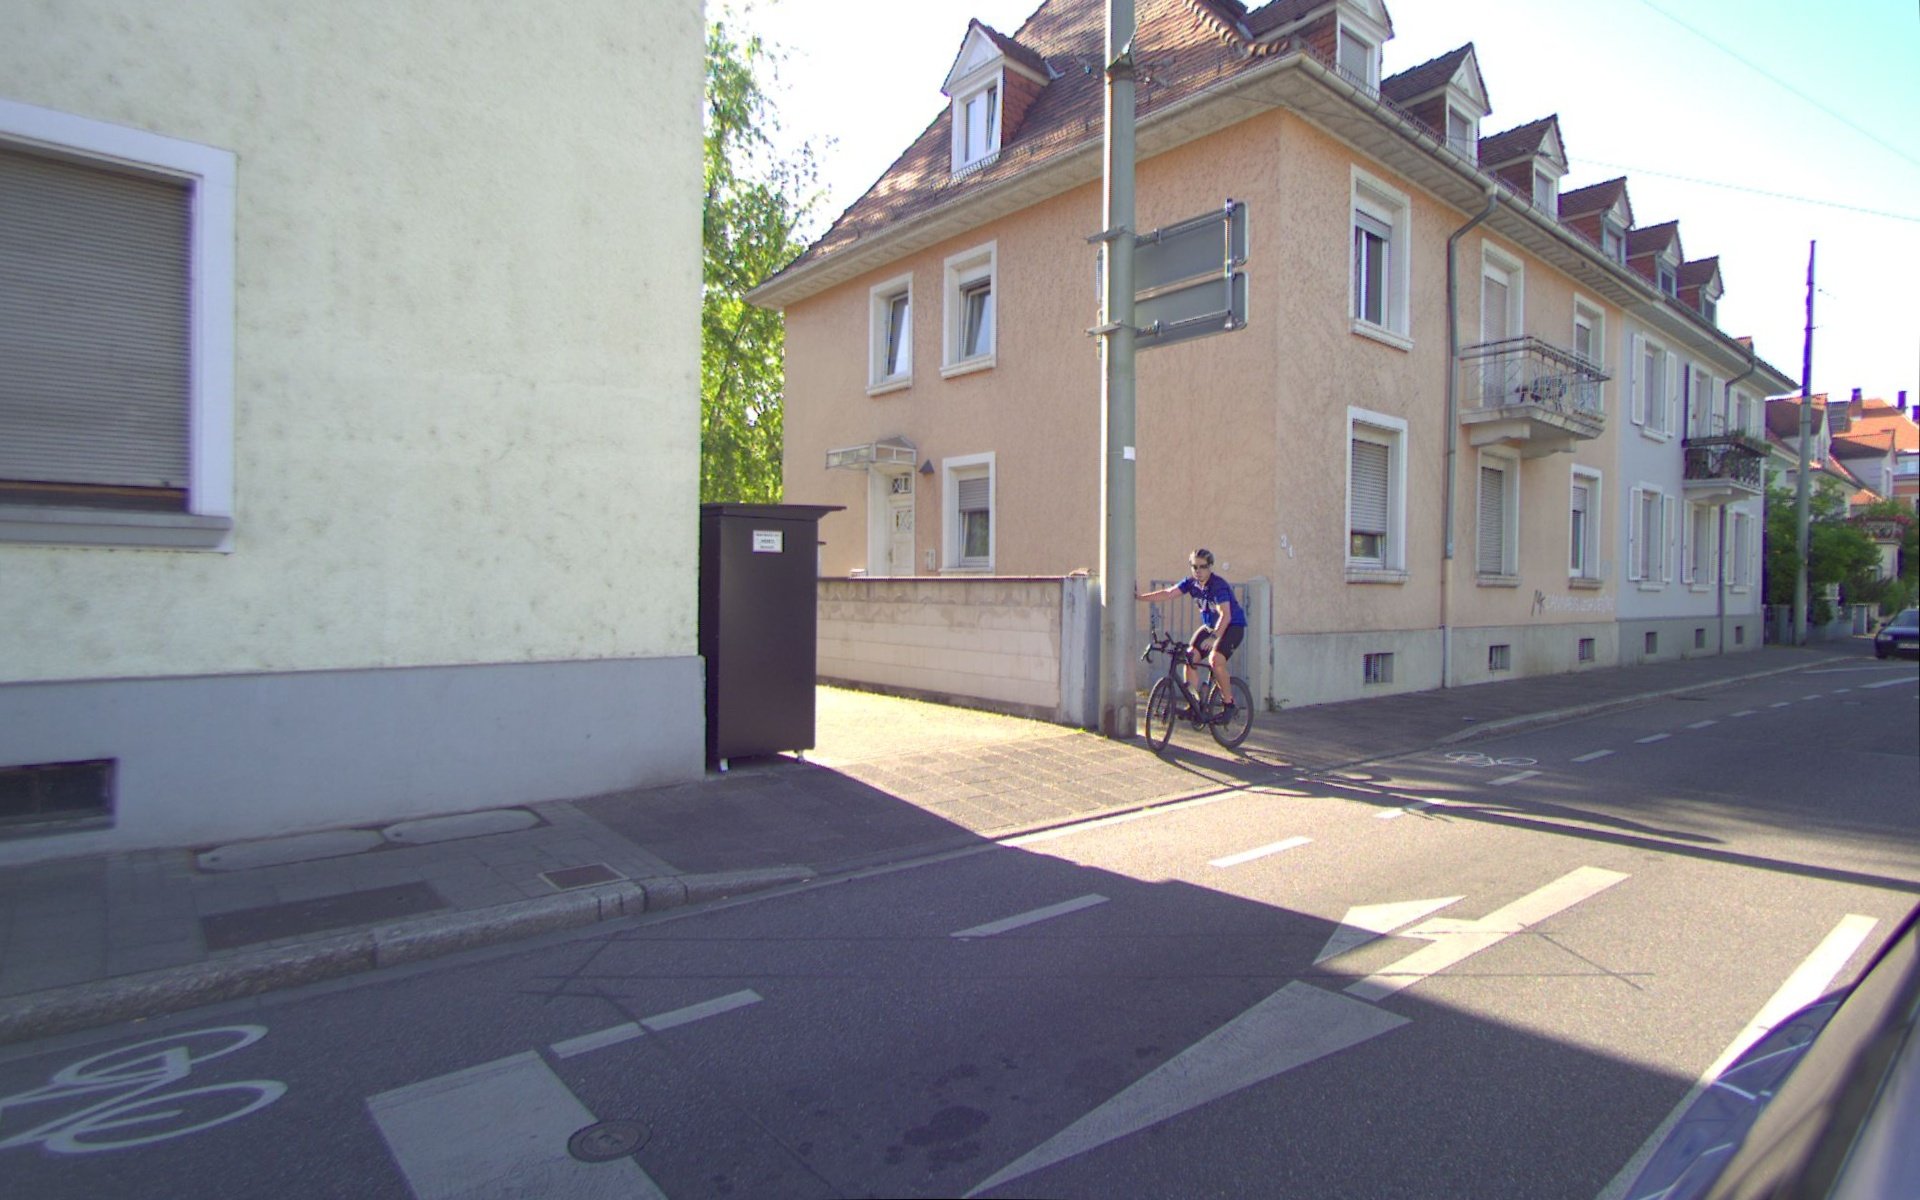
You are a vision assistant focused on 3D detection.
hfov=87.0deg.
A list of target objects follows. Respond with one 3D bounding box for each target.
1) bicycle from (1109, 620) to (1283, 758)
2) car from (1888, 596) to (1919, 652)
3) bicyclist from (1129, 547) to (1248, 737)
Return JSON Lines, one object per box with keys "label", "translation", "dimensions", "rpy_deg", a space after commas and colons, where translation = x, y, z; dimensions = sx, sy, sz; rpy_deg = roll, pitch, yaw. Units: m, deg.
{"label": "bicycle", "translation": [2.212, 0.773, 9.351], "dimensions": [1.763, 1.074, 0.551], "rpy_deg": [0, 6, -41]}
{"label": "car", "translation": [26.709, 0.628, 27.394], "dimensions": [4.347, 1.425, 1.866], "rpy_deg": [0, 1, -41]}
{"label": "bicyclist", "translation": [2.101, 0.355, 9.274], "dimensions": [0.998, 1.637, 0.562], "rpy_deg": [0, 1, -40]}
